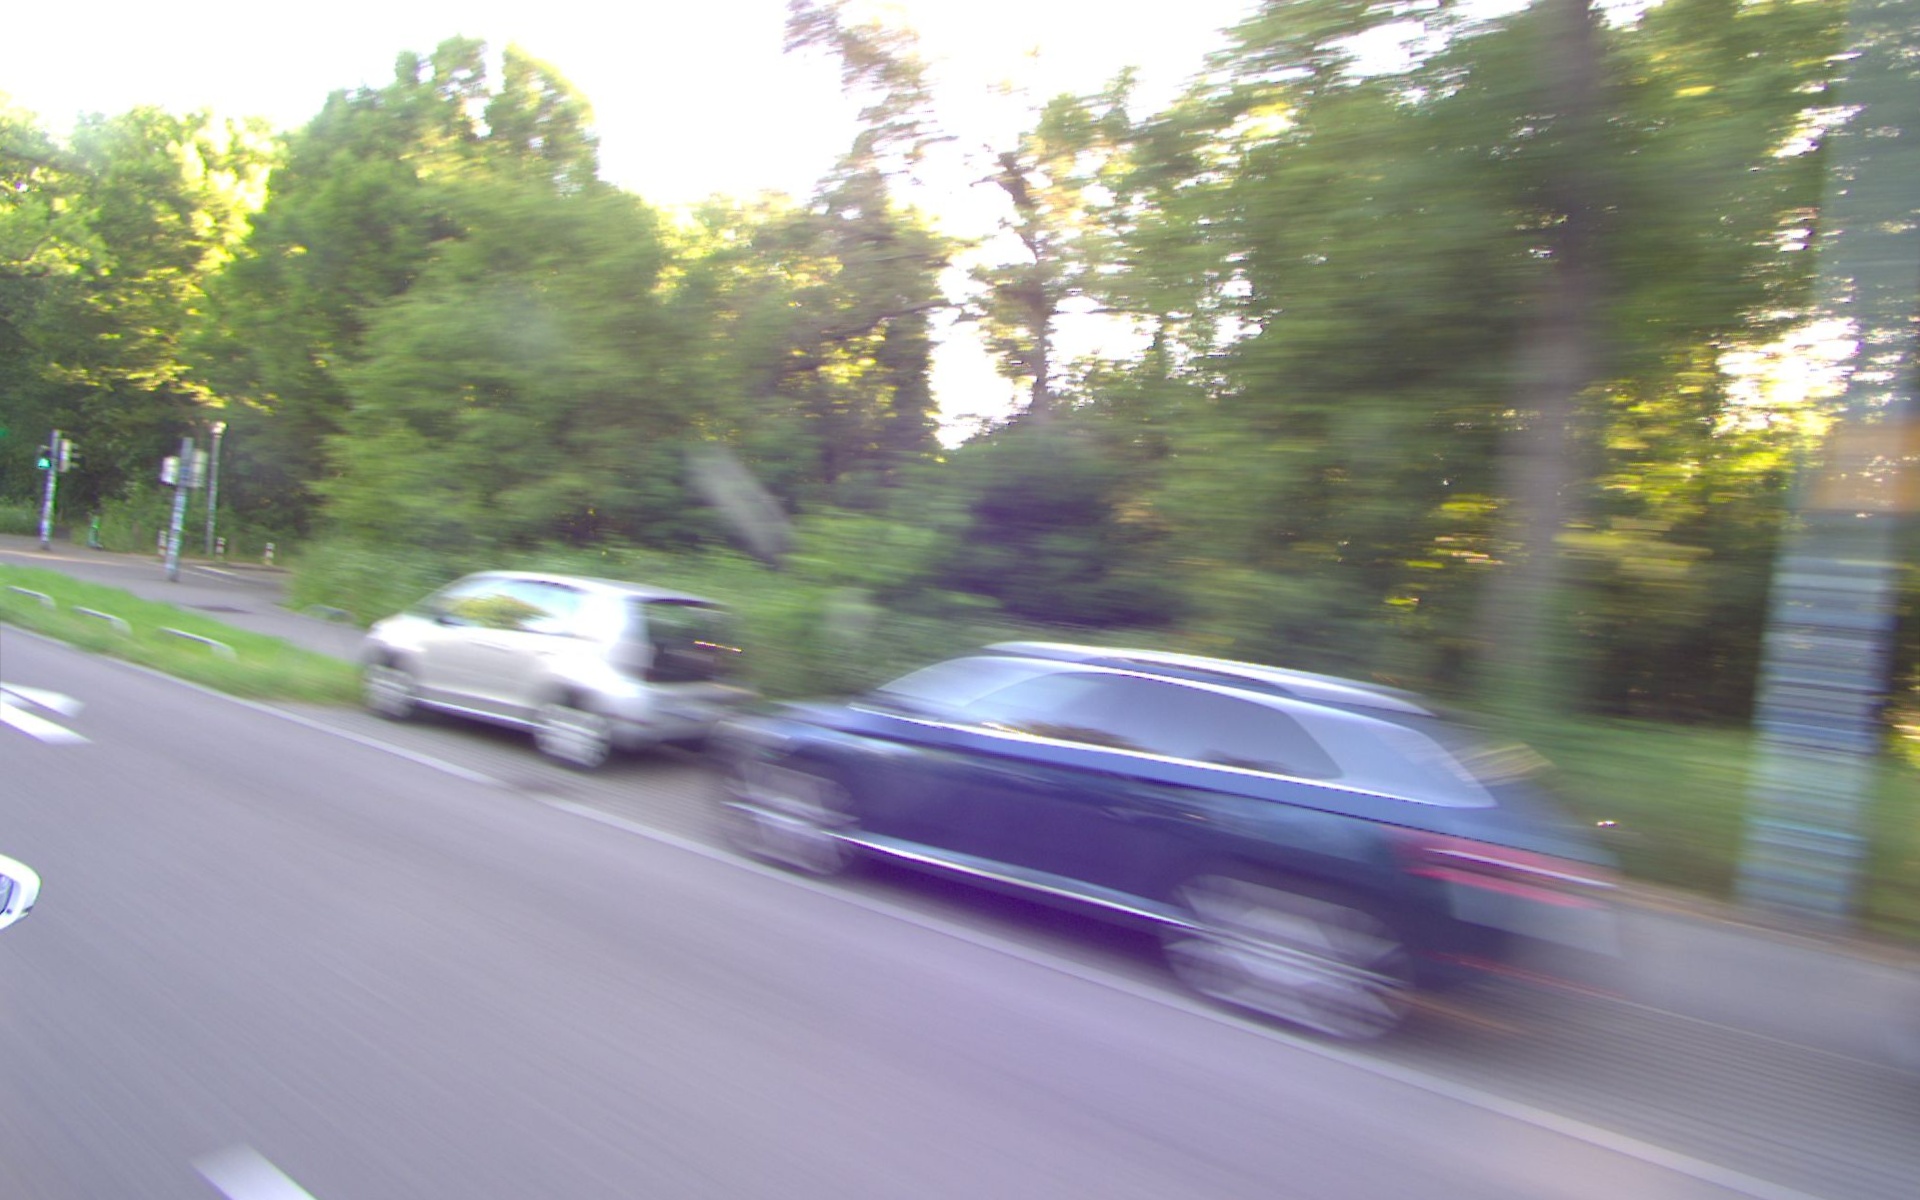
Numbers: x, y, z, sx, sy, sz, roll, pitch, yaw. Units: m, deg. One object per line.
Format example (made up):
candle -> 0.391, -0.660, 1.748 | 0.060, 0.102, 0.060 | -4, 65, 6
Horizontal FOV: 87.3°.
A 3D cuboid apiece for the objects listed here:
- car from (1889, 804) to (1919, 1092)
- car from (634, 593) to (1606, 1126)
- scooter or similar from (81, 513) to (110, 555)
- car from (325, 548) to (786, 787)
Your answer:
car -> 5.800, 1.590, 2.940 | 4.161, 1.422, 1.673 | 6, 0, 32
car -> 0.589, 0.987, 5.725 | 5.033, 1.487, 1.763 | 6, 0, 32
scooter or similar -> -26.408, -2.018, 30.715 | 1.205, 1.158, 0.377 | 7, 0, 40
car -> -3.666, 0.495, 9.003 | 3.807, 1.487, 1.720 | 6, 0, 29
